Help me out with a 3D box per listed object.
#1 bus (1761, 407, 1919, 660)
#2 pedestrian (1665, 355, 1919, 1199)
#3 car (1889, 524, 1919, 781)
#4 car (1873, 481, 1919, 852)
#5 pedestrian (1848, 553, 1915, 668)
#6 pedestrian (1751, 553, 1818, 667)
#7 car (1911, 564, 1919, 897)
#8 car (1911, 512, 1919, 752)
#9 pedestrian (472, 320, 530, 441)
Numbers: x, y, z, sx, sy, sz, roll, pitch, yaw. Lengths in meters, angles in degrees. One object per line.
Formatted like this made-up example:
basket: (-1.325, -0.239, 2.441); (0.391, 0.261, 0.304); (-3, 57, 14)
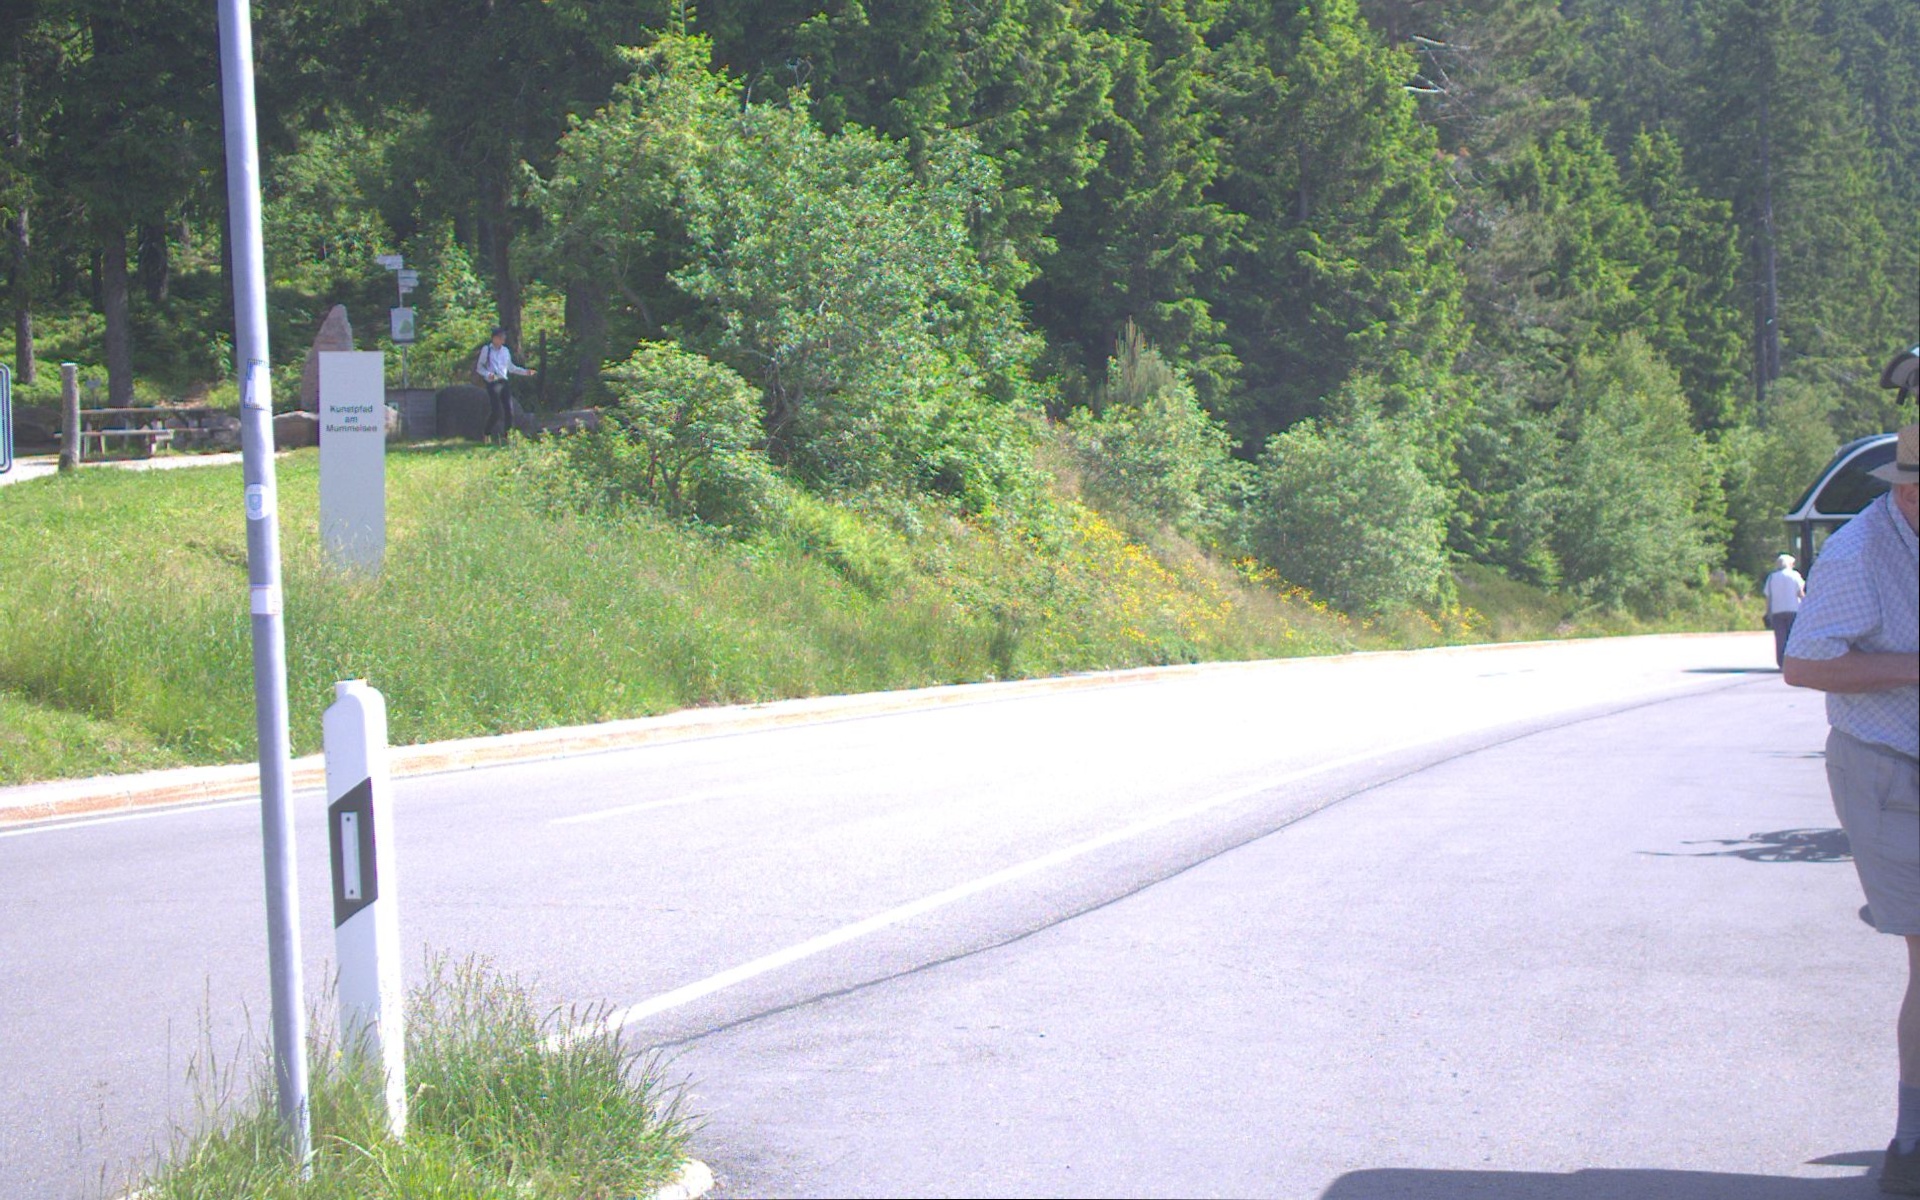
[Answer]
bus: (18.060, -1.056, 47.700); (13.111, 3.520, 3.039); (-1, 0, 26)
pedestrian: (2.122, 0.390, 7.713); (0.756, 1.864, 0.737); (-3, 4, -44)
car: (7.936, 0.261, 21.115); (4.247, 1.548, 1.837); (-1, 0, 16)
car: (6.837, 0.259, 15.843); (4.953, 1.690, 1.943); (-1, 1, 18)
pedestrian: (12.885, 0.140, 48.044); (0.771, 1.580, 0.771); (-1, 0, 23)
pedestrian: (11.648, 0.139, 48.544); (0.771, 1.580, 0.771); (-1, 0, 23)
car: (5.888, 0.589, 13.285); (4.083, 1.372, 1.702); (1, 1, 10)
car: (9.243, 0.151, 23.858); (5.037, 1.645, 2.046); (-1, 0, 16)
pedestrian: (-7.300, -3.486, 54.648); (0.682, 1.871, 0.540); (-2, 0, 43)
